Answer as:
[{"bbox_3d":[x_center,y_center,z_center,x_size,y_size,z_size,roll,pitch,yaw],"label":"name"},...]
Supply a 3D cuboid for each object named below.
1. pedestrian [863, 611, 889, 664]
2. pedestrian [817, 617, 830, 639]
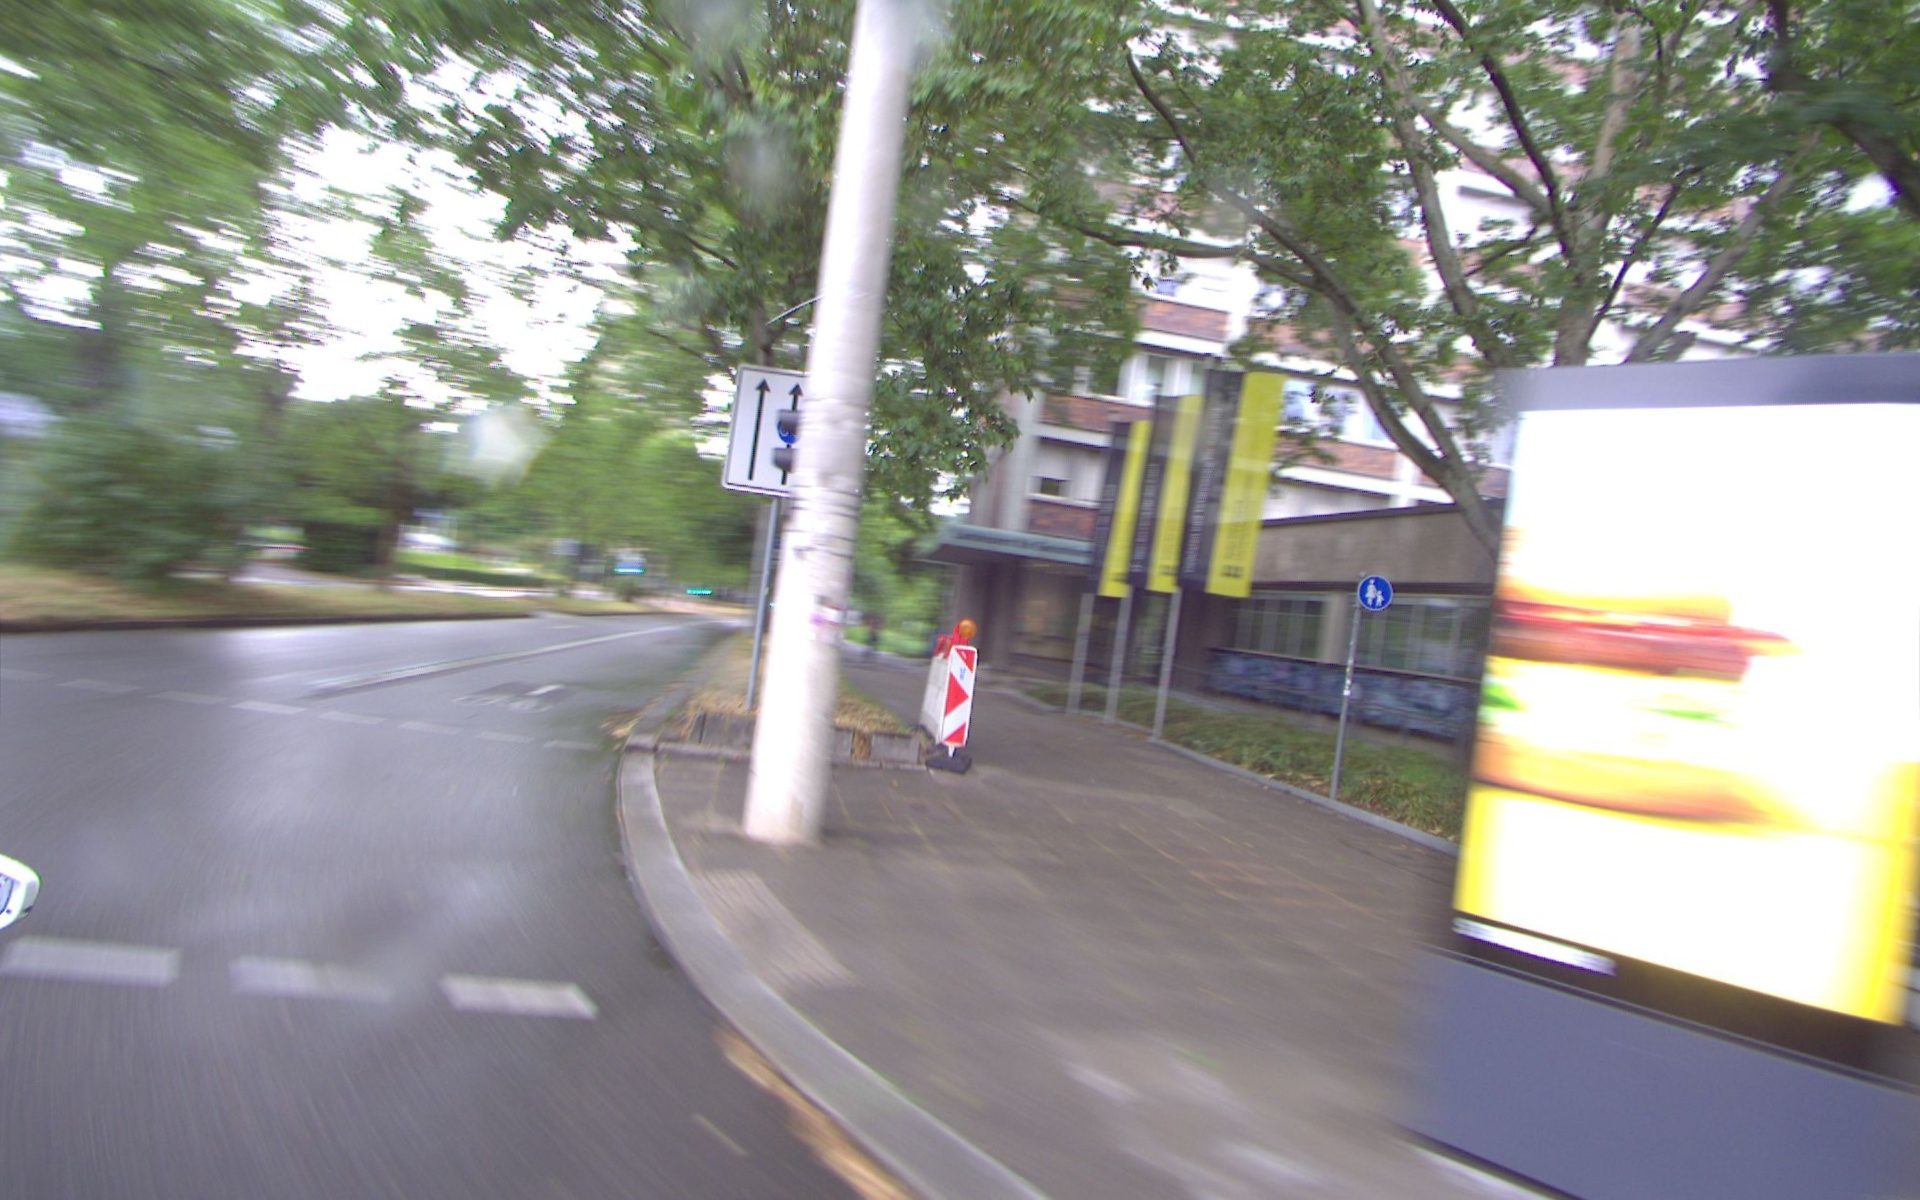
[{"bbox_3d":[-2.762,1.216,32.964,0.514,1.658,0.933,8,-1,-12],"label":"pedestrian"},{"bbox_3d":[-10.813,2.230,79.807,0.694,1.658,0.933,8,-1,-12],"label":"pedestrian"}]
